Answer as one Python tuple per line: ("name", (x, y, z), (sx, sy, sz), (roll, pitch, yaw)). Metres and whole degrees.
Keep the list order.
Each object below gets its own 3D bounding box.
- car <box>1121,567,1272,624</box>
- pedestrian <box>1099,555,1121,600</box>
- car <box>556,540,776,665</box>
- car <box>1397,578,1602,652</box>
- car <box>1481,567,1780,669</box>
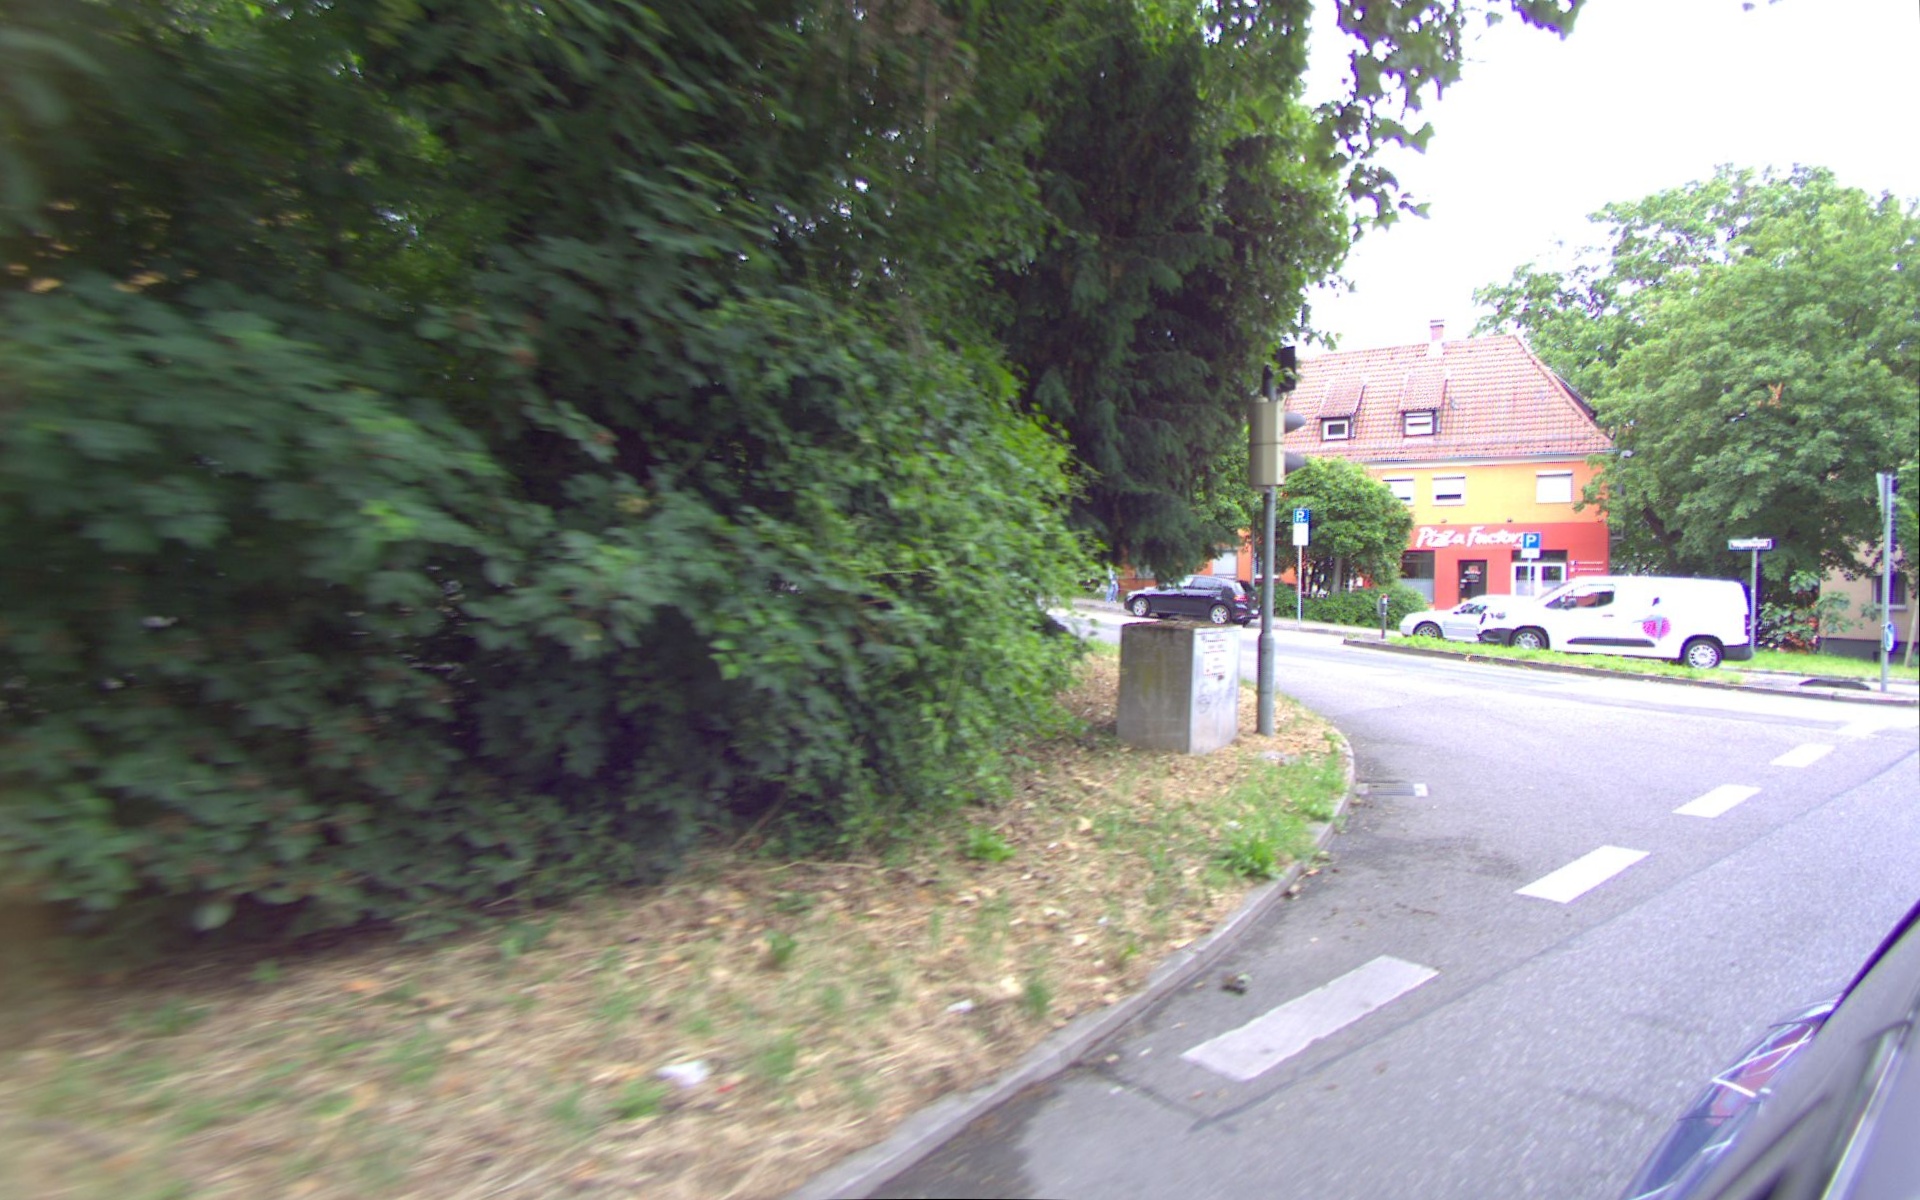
("car", (7.139, -0.171, 30.747), (4.111, 1.445, 1.713), (5, 3, 39))
("pedestrian", (5.298, -0.809, 35.711), (0.490, 1.563, 0.670), (4, 4, 31))
("car", (-4.525, -0.094, 16.316), (1.831, 1.502, 4.423), (5, 5, 6))
("car", (13.331, 0.346, 25.135), (4.117, 1.446, 1.834), (5, 0, 43))
("car", (13.436, 0.345, 20.660), (4.788, 1.812, 1.776), (2, -2, 23))
